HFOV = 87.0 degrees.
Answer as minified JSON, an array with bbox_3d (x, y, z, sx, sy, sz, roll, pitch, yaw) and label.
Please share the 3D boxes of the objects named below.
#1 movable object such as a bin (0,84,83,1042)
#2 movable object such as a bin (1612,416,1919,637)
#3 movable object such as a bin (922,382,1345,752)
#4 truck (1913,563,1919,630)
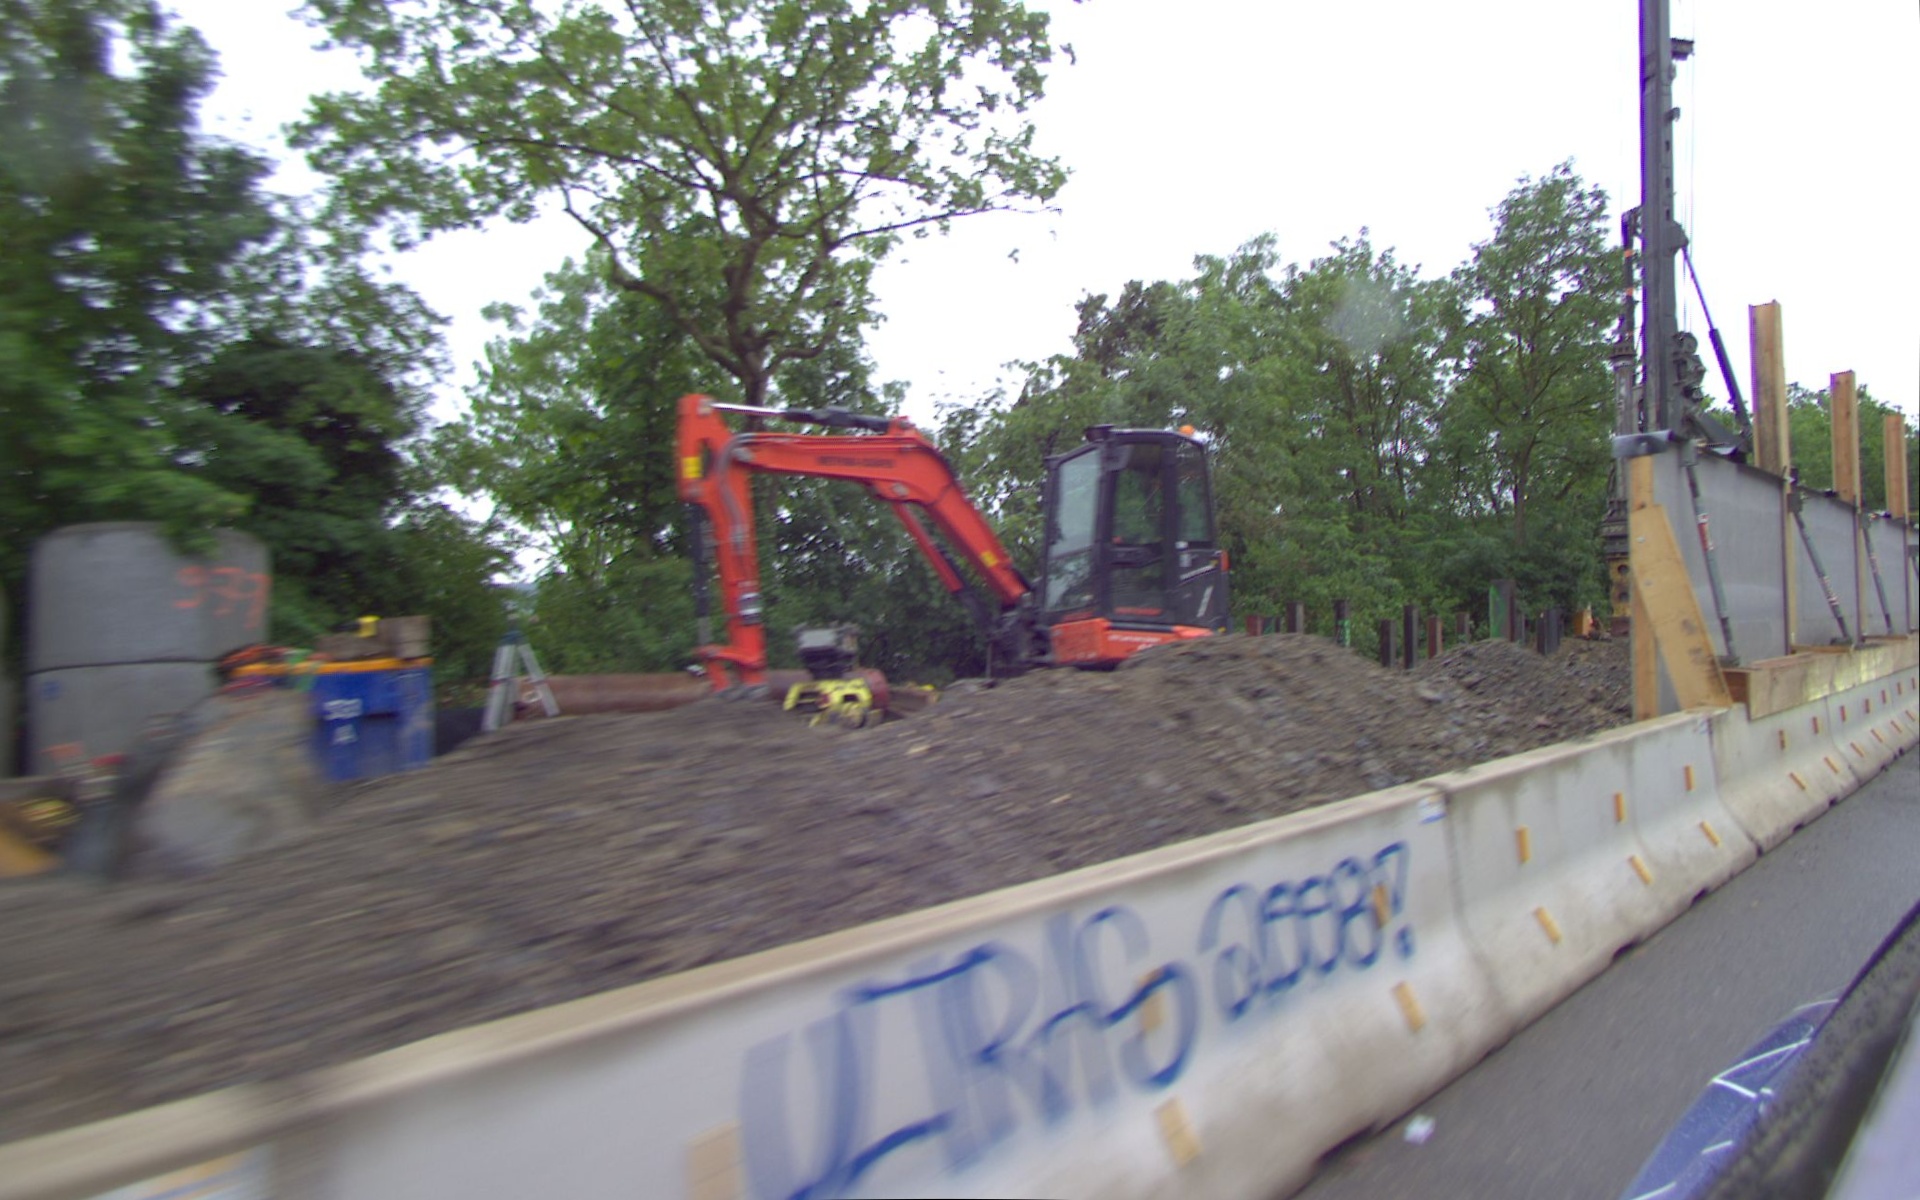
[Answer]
[{"bbox_3d":[-6.003,-0.034,2.597,5.487,3.115,2.499,-1,-2,-38],"label":"movable object such as a bin"},{"bbox_3d":[21.316,-1.781,25.964,7.013,5.130,3.701,-1,0,-12],"label":"movable object such as a bin"},{"bbox_3d":[1.579,-0.226,9.013,3.120,2.635,2.099,-1,-2,-40],"label":"movable object such as a bin"},{"bbox_3d":[32.580,-0.150,32.477,3.246,2.134,2.555,-1,0,-41],"label":"truck"}]
